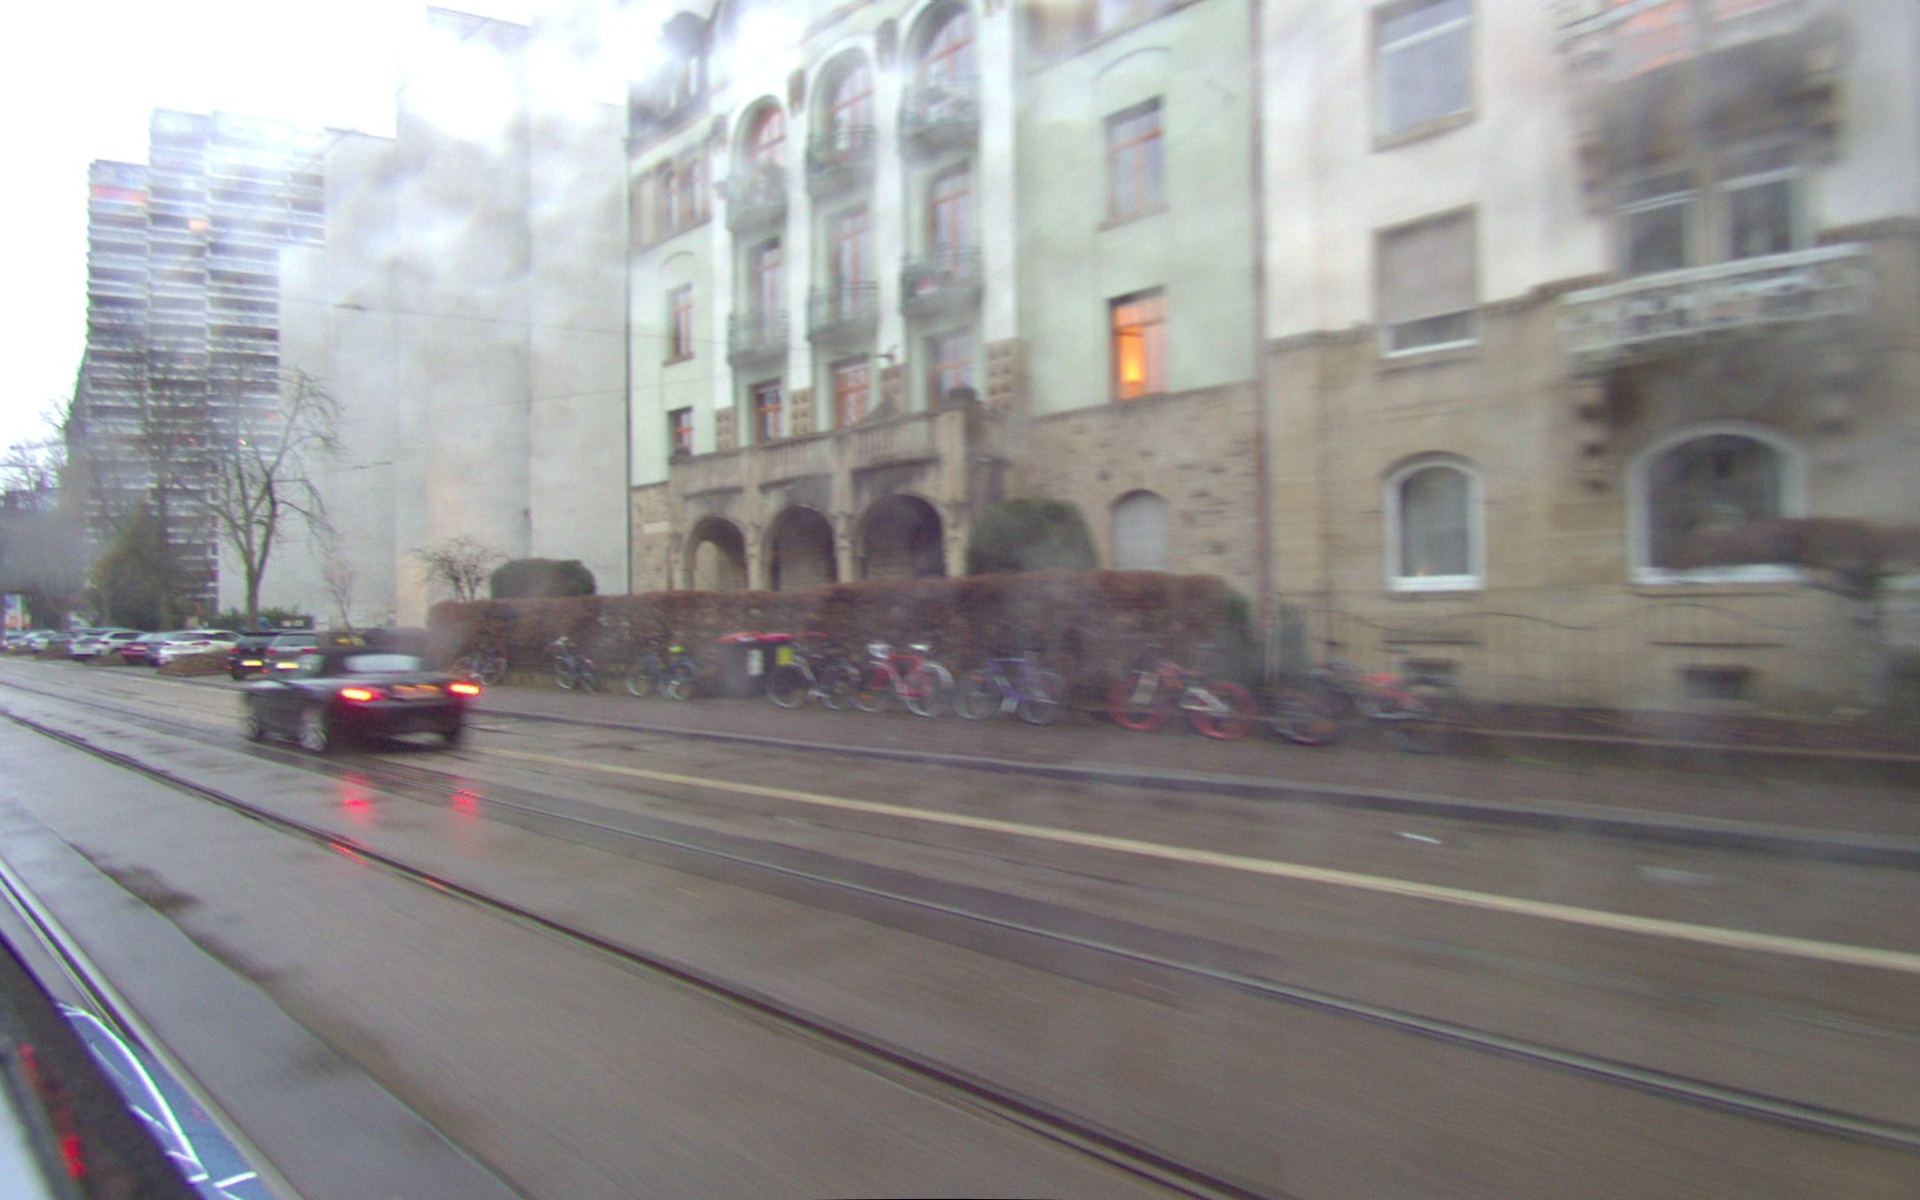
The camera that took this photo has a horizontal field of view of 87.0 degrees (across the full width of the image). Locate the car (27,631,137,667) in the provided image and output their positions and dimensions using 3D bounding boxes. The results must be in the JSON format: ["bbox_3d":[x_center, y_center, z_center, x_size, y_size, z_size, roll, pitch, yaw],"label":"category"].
[{"bbox_3d":[-43.210,2.378,49.914,1.845,1.608,3.995,-1,-1,4],"label":"car"}]

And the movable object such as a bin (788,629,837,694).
[{"bbox_3d":[-2.744,1.133,18.856,0.675,1.173,0.616,-2,-2,43],"label":"movable object such as a bin"}]

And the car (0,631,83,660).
[{"bbox_3d":[-55.159,2.707,60.547,1.845,1.608,3.995,-1,-1,4],"label":"car"}]

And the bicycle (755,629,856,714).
[{"bbox_3d":[-2.383,1.071,15.490,1.662,1.221,0.616,-2,-2,43],"label":"bicycle"}]

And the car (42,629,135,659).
[{"bbox_3d":[-50.558,2.535,58.800,1.845,1.608,3.995,-1,-1,4],"label":"car"}]

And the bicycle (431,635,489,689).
[{"bbox_3d":[-11.373,1.388,23.006,1.662,1.173,0.616,-2,-1,43],"label":"bicycle"}]

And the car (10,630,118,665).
[{"bbox_3d":[-45.337,2.390,51.346,1.845,1.608,3.995,-1,-1,4],"label":"car"}]

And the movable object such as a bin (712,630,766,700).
[{"bbox_3d":[-3.872,1.124,17.734,0.675,1.173,0.650,-2,-2,43],"label":"movable object such as a bin"}]

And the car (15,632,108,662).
[{"bbox_3d":[-53.172,2.746,59.962,1.845,1.608,3.995,-1,-1,4],"label":"car"}]

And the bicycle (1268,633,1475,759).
[{"bbox_3d":[4.047,0.904,10.049,1.783,1.134,0.616,-2,-2,43],"label":"bicycle"}]

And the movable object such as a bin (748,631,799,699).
[{"bbox_3d":[-3.344,1.147,18.159,0.675,1.173,0.616,-2,-2,43],"label":"movable object such as a bin"}]

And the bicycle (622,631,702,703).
[{"bbox_3d":[-5.364,1.180,18.170,1.662,1.221,0.616,-2,-2,43],"label":"bicycle"}]

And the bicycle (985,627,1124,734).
[{"bbox_3d":[1.134,0.955,12.428,1.662,1.221,0.616,-2,-2,43],"label":"bicycle"}]

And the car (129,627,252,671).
[{"bbox_3d":[-31.078,1.963,41.022,1.845,1.608,3.995,-1,-1,4],"label":"car"}]

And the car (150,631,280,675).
[{"bbox_3d":[-28.112,1.971,38.345,1.845,1.460,3.995,-1,-1,4],"label":"car"}]

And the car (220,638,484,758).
[{"bbox_3d":[-7.682,1.119,12.683,3.662,1.262,1.689,-2,-2,39],"label":"car"}]

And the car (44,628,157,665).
[{"bbox_3d":[-40.723,2.159,48.073,1.845,1.608,3.995,-1,-1,4],"label":"car"}]

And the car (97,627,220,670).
[{"bbox_3d":[-33.422,1.989,42.348,1.845,1.608,3.995,-1,-1,4],"label":"car"}]

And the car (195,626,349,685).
[{"bbox_3d":[-20.862,1.632,30.893,1.845,1.608,3.995,-1,-1,4],"label":"car"}]

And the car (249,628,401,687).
[{"bbox_3d":[-18.255,1.609,29.315,1.742,1.497,3.995,-1,-1,4],"label":"car"}]

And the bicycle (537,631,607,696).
[{"bbox_3d":[-7.620,1.226,19.841,1.662,1.221,0.616,-2,-2,43],"label":"bicycle"}]

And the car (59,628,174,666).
[{"bbox_3d":[-38.570,2.115,46.399,1.845,1.608,3.995,-1,-1,4],"label":"car"}]

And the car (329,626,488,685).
[{"bbox_3d":[-15.609,1.533,28.894,1.850,1.505,3.985,-1,-1,12],"label":"car"}]

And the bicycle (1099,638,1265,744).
[{"bbox_3d":[2.439,0.967,11.254,1.727,1.073,0.616,-2,-2,43],"label":"bicycle"}]

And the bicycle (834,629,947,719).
[{"bbox_3d":[-0.993,1.007,14.183,1.662,1.173,0.616,-2,-2,43],"label":"bicycle"}]
